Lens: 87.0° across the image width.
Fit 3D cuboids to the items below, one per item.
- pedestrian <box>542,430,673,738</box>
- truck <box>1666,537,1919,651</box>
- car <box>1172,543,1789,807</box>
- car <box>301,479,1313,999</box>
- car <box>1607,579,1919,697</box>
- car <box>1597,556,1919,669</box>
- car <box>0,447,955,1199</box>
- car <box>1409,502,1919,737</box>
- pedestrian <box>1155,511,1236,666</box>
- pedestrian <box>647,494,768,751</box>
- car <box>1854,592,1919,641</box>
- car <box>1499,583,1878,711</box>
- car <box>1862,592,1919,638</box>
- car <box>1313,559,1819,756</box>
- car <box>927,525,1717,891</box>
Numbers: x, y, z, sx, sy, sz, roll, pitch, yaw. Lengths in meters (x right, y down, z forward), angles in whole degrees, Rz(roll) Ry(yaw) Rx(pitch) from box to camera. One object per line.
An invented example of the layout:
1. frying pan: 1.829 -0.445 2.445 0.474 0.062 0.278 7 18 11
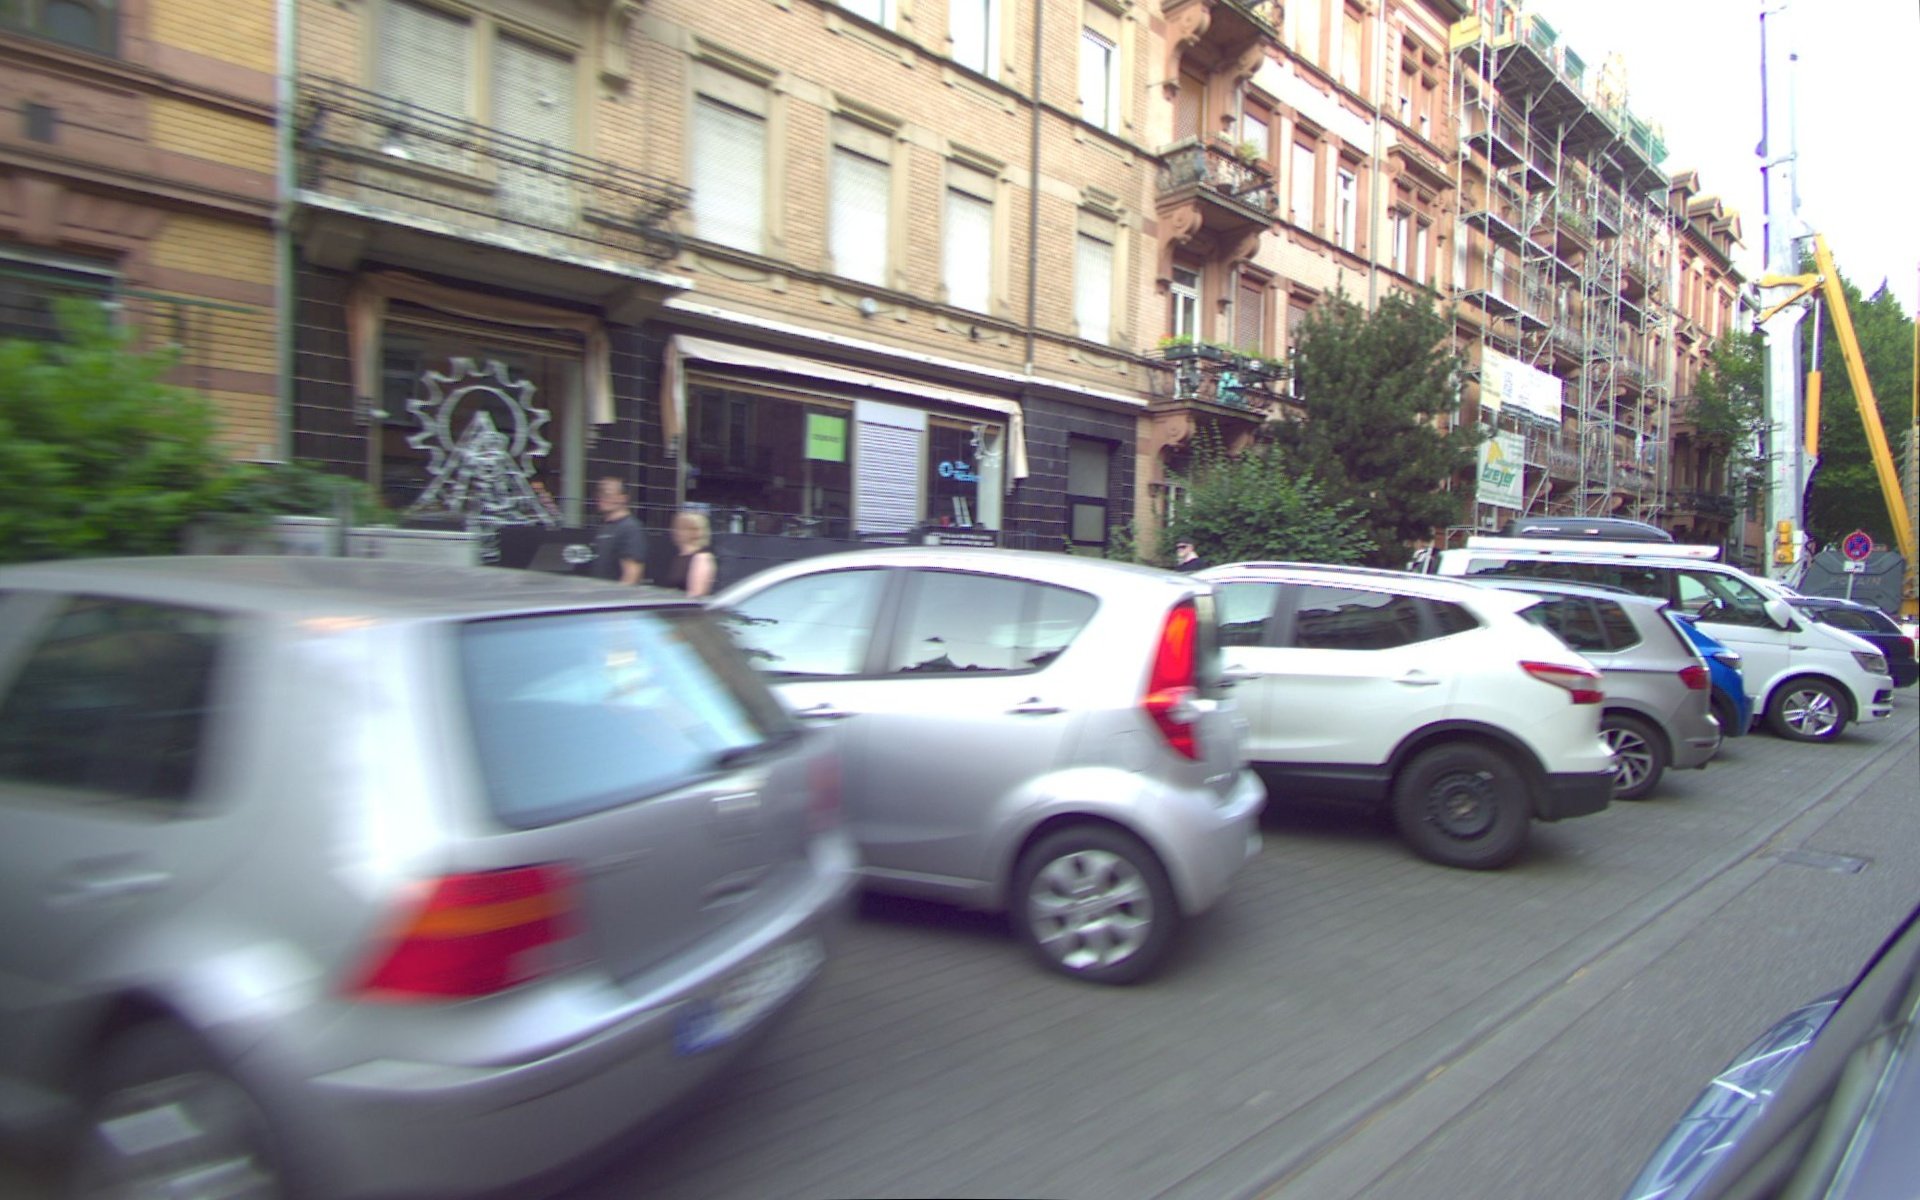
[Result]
1. pedestrian: -2.457 -0.112 7.101 0.616 2.039 0.653 0 0 15
2. truck: 25.613 -0.192 30.685 2.478 3.115 6.498 0 1 -37
3. car: 4.033 0.470 8.584 4.114 1.610 1.874 4 2 19
4. car: -0.642 0.403 4.788 4.046 1.610 1.813 4 2 12
5. car: 12.408 0.517 15.556 3.826 1.535 1.833 3 1 24
6. car: 17.228 0.182 22.123 1.866 1.979 5.184 2 3 -41
7. car: -2.248 0.417 3.056 4.056 1.570 1.808 4 3 18
8. car: 8.135 0.100 12.165 4.885 2.391 1.984 3 1 24
9. pedestrian: 2.834 -0.156 12.131 0.680 1.771 0.819 4 3 28
10. pedestrian: -1.749 0.145 7.081 0.615 1.702 0.654 0 0 9
11. car: 33.087 0.636 34.123 3.940 1.506 1.677 4 2 16
12. car: 9.837 0.566 14.034 3.815 1.425 1.750 2 2 17
13. car: 35.263 0.624 36.092 4.109 1.506 1.824 4 2 14
14. car: 5.871 0.457 10.465 4.117 1.610 1.873 2 1 21
15. car: 2.029 0.465 6.510 4.057 1.610 1.808 4 3 19
